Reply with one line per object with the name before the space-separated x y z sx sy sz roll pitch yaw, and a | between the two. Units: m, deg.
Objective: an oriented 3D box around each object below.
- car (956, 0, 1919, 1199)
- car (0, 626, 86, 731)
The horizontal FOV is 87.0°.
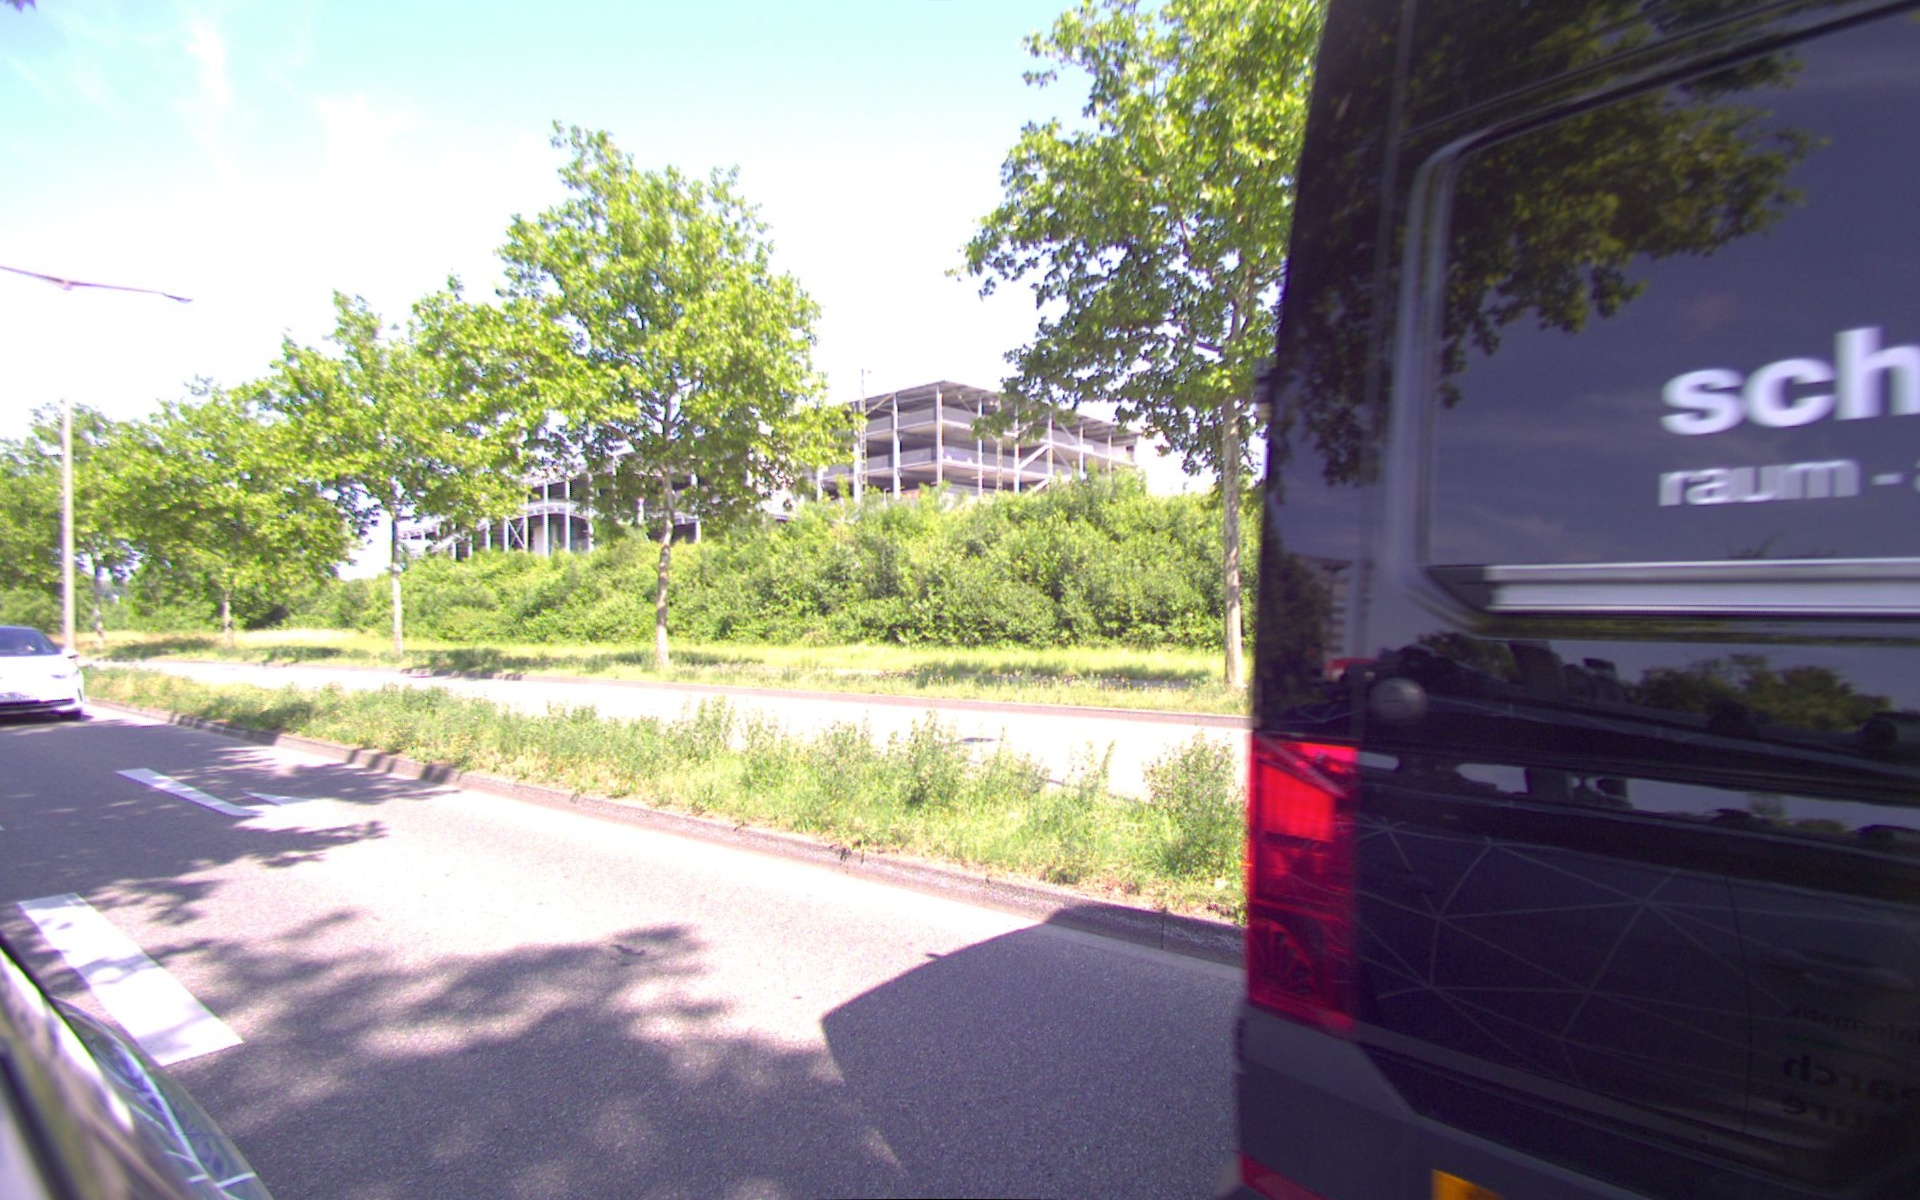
car | 2.978 0.048 0.485 6.165 2.627 1.995 -1 0 41
car | -15.910 1.230 16.465 4.203 1.533 1.802 -2 -1 38
